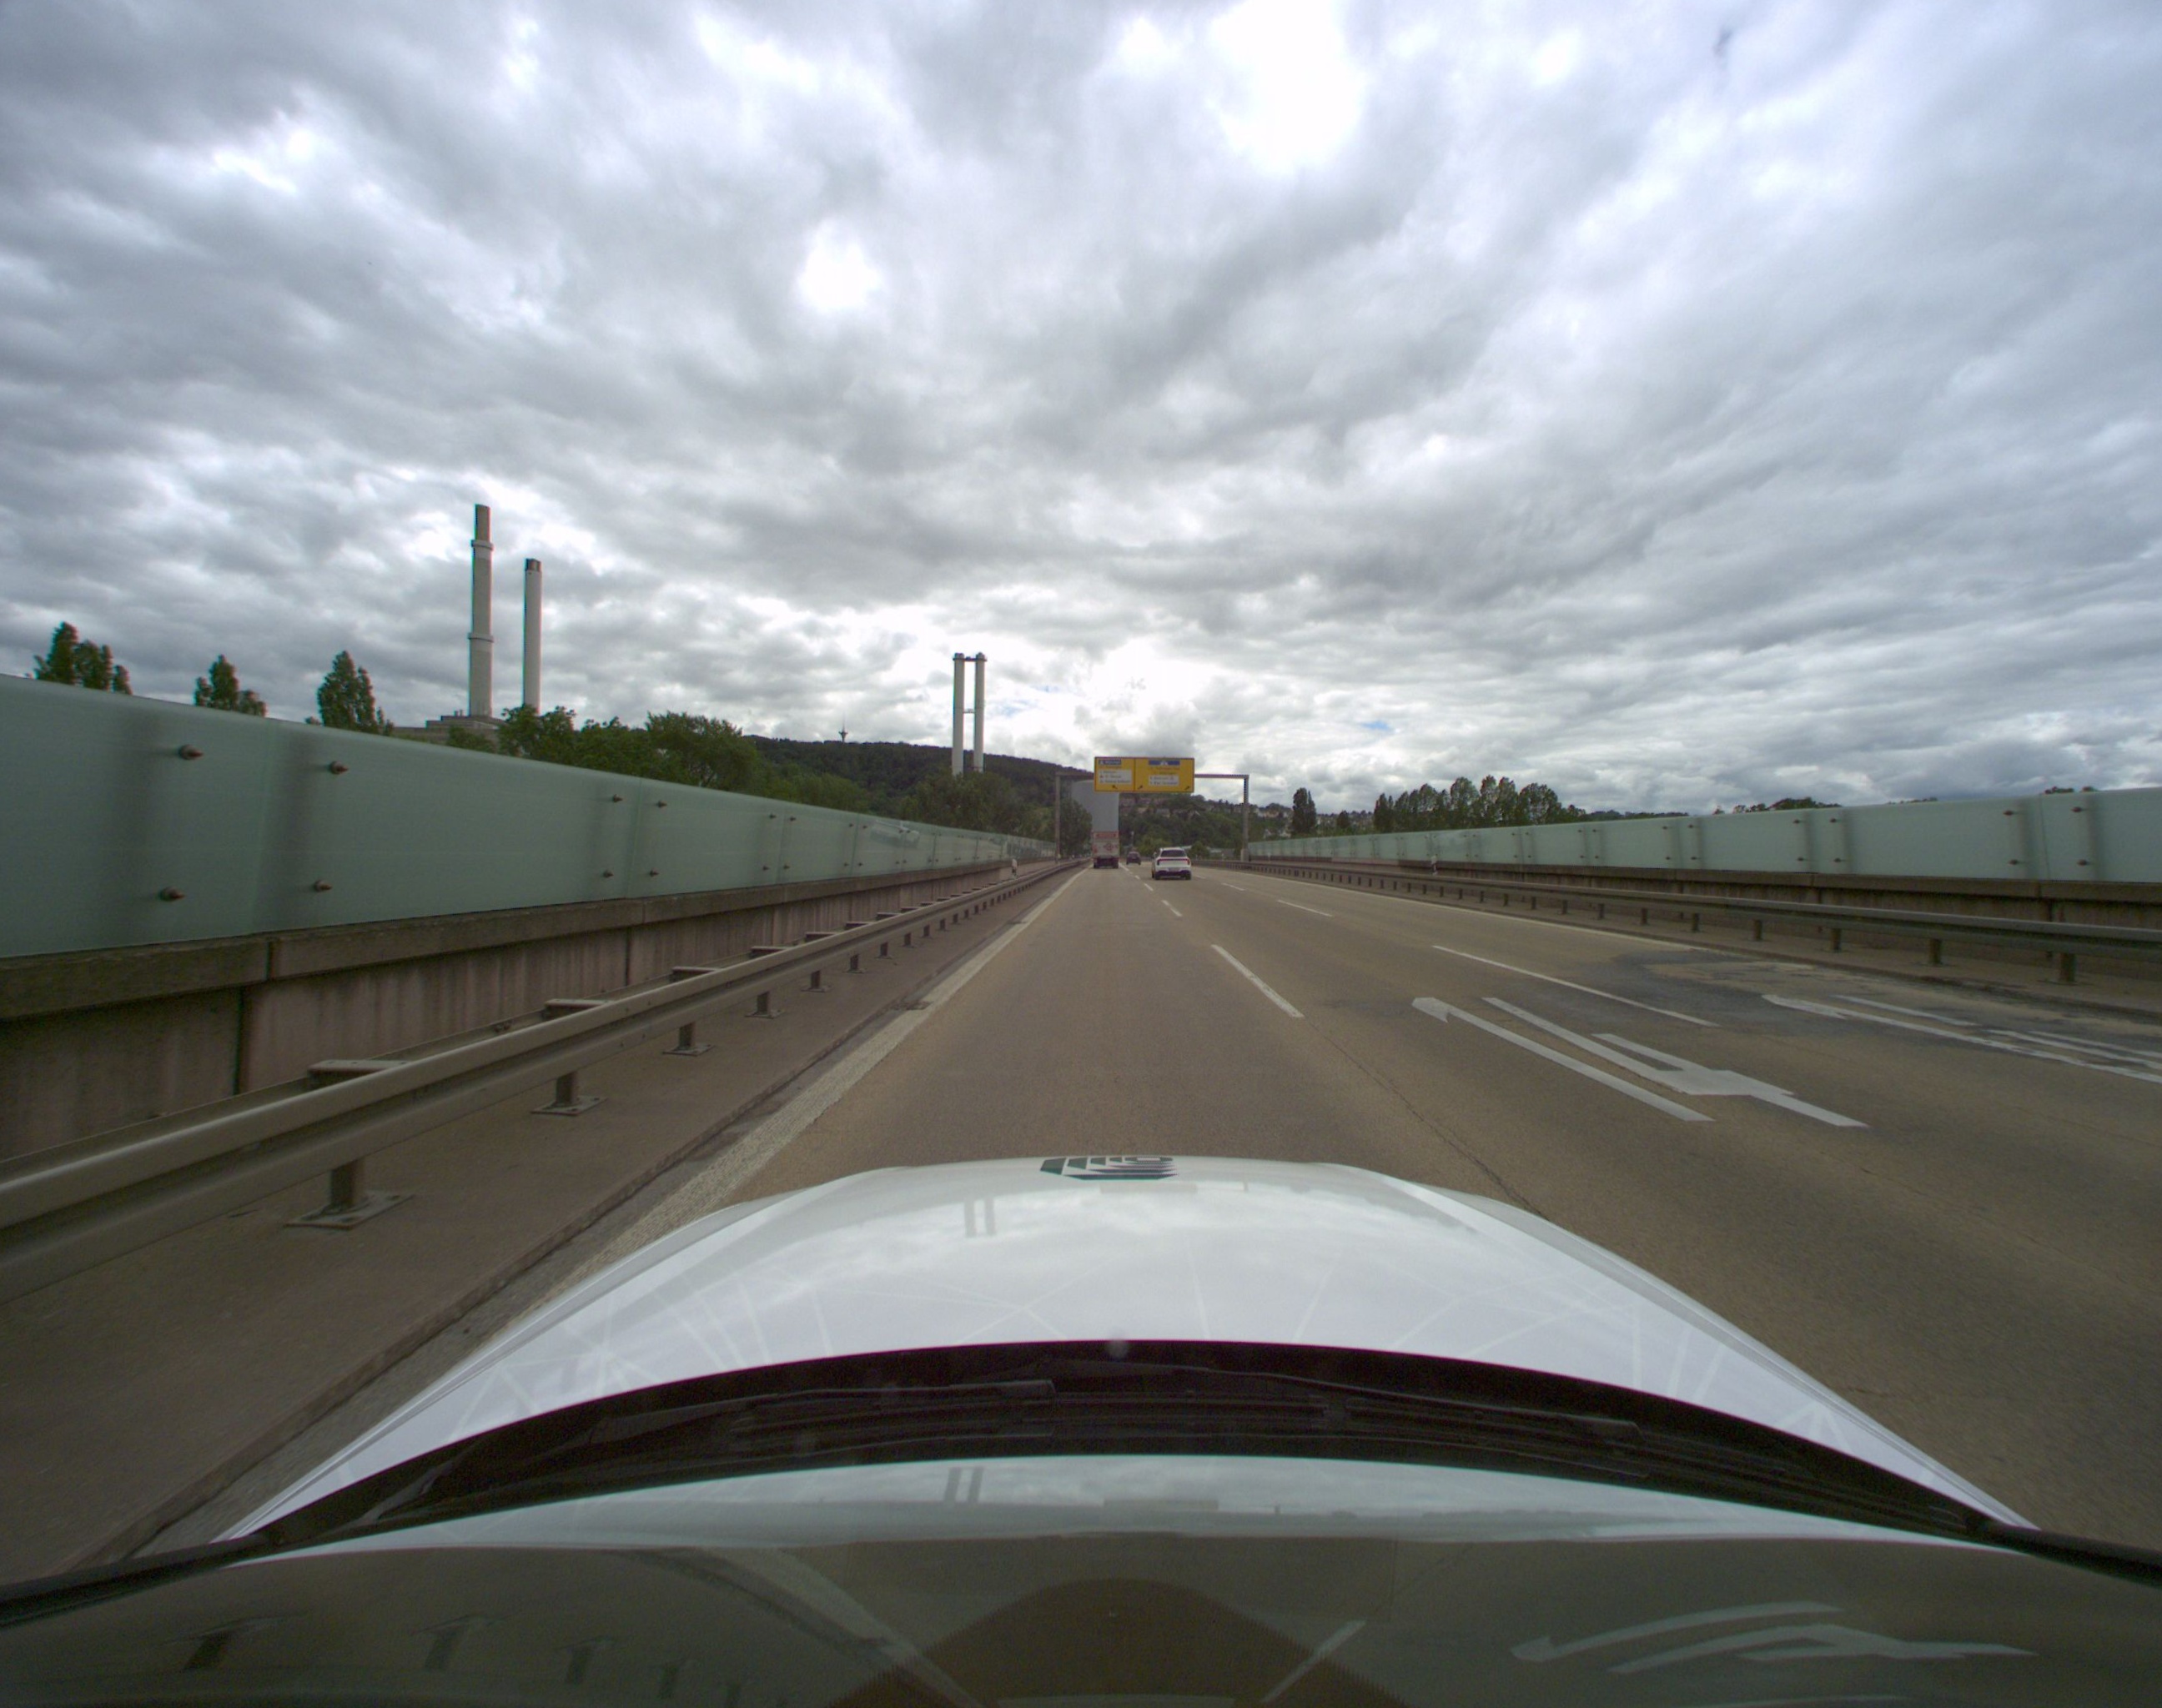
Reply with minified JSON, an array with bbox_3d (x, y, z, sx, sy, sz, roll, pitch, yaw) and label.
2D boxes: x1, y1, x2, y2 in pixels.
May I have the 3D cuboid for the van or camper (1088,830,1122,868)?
[{"bbox_3d":[2.481,-0.452,80.195,3.109,3.579,8.556,-1,0,3],"label":"van or camper"}]

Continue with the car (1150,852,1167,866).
[{"bbox_3d":[10.350,0.624,109.536,1.917,1.785,4.113,-1,0,0],"label":"car"}]

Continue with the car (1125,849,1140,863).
[{"bbox_3d":[6.719,0.235,106.547,1.916,1.785,4.115,-1,0,2],"label":"car"}]

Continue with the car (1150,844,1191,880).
[{"bbox_3d":[4.689,0.395,43.186,1.916,1.785,4.116,-1,0,2],"label":"car"}]
